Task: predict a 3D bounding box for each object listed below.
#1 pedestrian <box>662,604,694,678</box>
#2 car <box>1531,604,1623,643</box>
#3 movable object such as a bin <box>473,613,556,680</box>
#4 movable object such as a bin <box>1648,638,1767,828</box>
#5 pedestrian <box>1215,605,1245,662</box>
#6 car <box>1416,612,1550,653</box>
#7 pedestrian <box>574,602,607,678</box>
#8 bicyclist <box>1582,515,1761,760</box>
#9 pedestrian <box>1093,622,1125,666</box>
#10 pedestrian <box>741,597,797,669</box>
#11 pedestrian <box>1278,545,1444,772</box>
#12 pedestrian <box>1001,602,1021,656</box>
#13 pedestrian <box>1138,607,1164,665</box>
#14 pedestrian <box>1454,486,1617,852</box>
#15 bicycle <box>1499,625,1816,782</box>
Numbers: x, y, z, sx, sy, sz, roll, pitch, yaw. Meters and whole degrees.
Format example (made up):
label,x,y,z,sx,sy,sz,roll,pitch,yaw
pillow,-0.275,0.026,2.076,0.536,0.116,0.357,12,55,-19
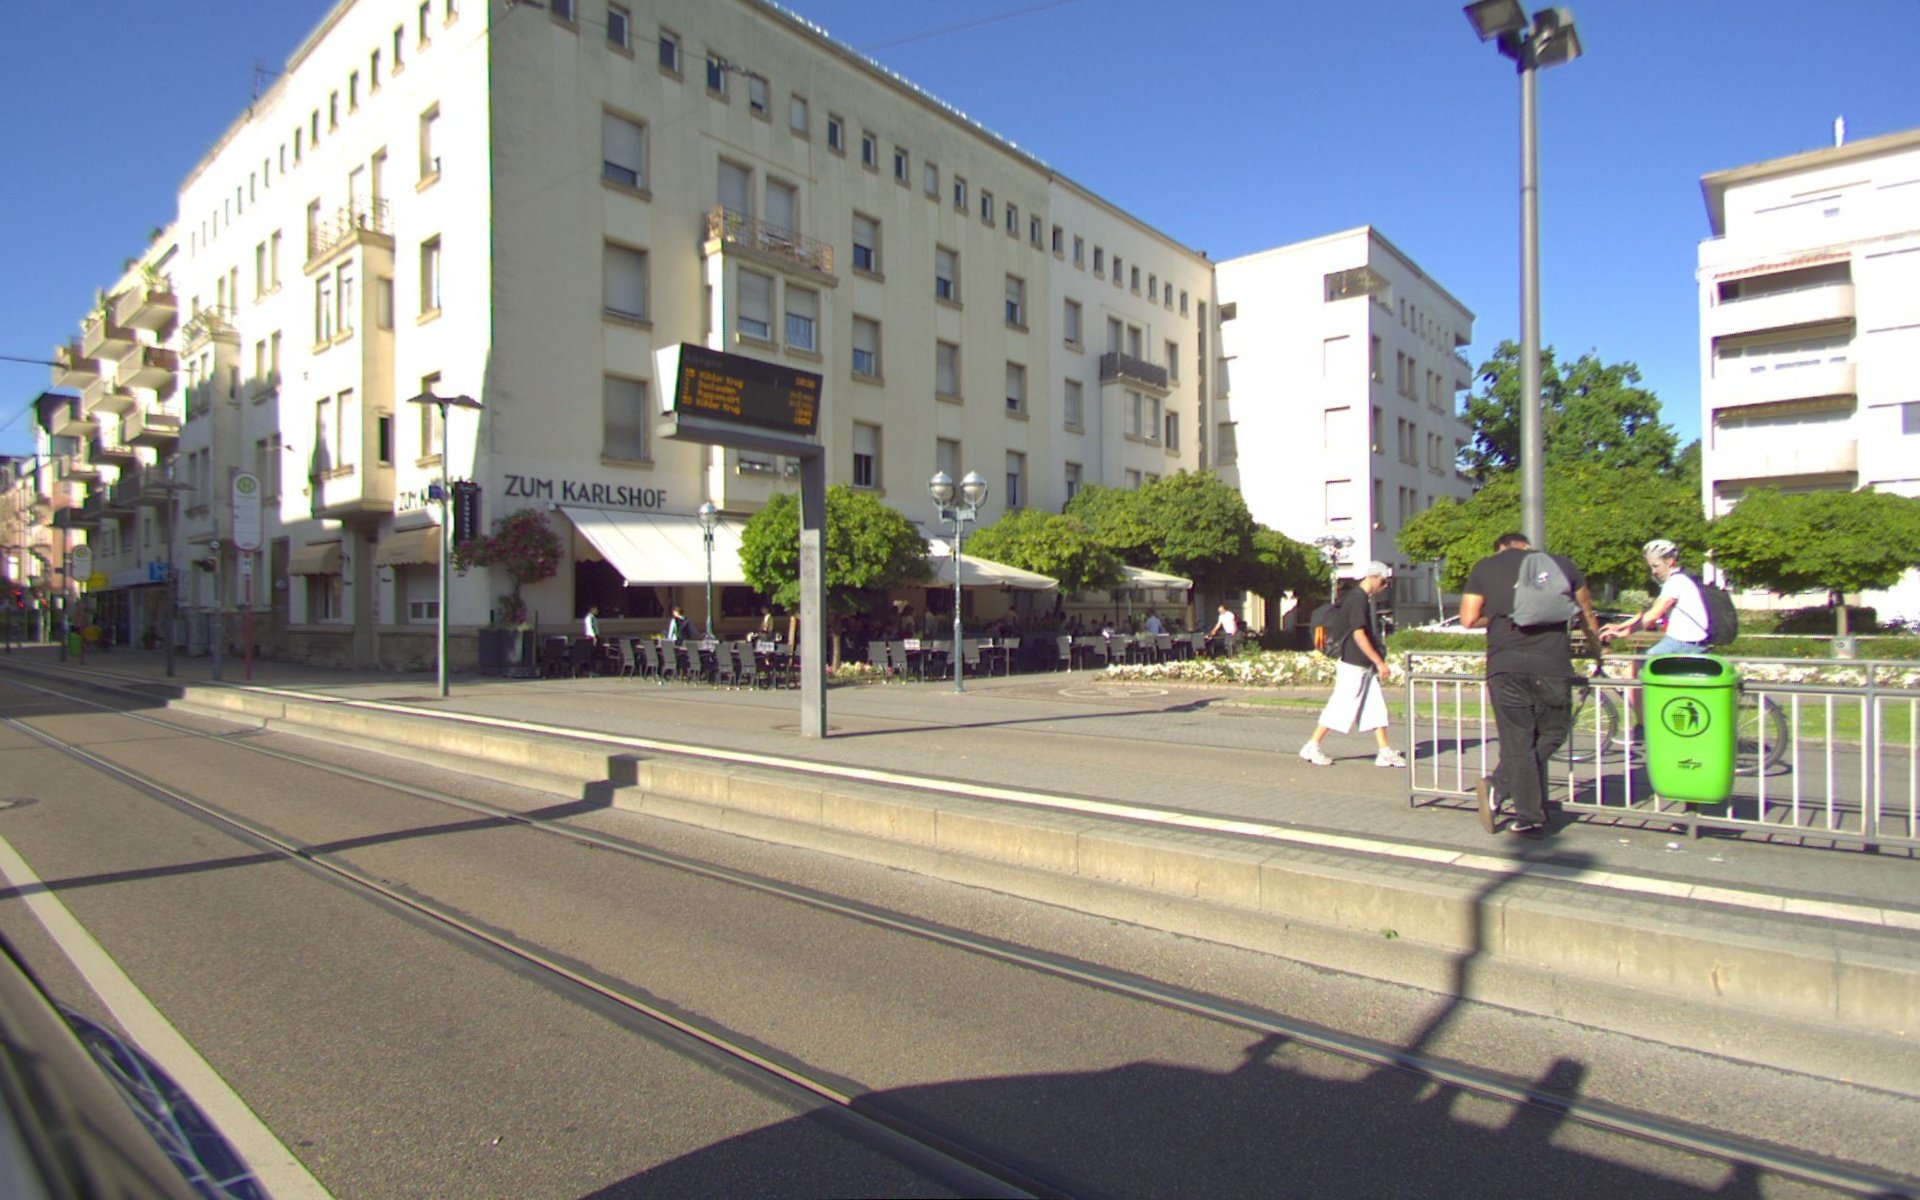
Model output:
label,x,y,z,sx,sy,sz,roll,pitch,yaw
pedestrian,-6.452,0.943,23.187,0.662,1.657,0.678,-1,-4,-14
car,24.533,0.914,40.264,2.932,1.497,1.399,-1,-1,41
movable object such as a bin,-9.766,0.993,22.187,1.127,1.410,1.302,-1,-1,40
movable object such as a bin,3.662,0.627,4.960,0.416,0.866,0.332,-2,-2,44
pedestrian,8.554,1.072,32.068,0.710,1.750,0.673,-2,-4,1
car,17.844,1.097,34.601,3.713,1.310,1.973,-1,-1,41
pedestrian,-8.318,0.910,22.774,0.662,1.657,0.753,0,-4,-22
bicyclist,5.682,0.286,8.169,1.092,1.807,0.996,-1,-1,33
pedestrian,4.489,1.328,30.524,0.672,1.280,0.636,-5,-5,36
pedestrian,-4.523,0.767,23.994,0.755,1.657,1.054,-1,-1,36
pedestrian,3.279,0.459,8.265,0.974,1.693,0.982,-2,-3,41
pedestrian,1.734,0.978,34.415,0.641,1.837,0.576,-1,-1,5
pedestrian,5.947,1.133,31.546,0.677,1.750,0.671,-3,-4,14
pedestrian,2.954,0.336,5.201,0.607,1.731,0.542,-1,-3,43
bicycle,5.589,0.782,8.266,2.030,1.134,0.706,-1,-1,33
